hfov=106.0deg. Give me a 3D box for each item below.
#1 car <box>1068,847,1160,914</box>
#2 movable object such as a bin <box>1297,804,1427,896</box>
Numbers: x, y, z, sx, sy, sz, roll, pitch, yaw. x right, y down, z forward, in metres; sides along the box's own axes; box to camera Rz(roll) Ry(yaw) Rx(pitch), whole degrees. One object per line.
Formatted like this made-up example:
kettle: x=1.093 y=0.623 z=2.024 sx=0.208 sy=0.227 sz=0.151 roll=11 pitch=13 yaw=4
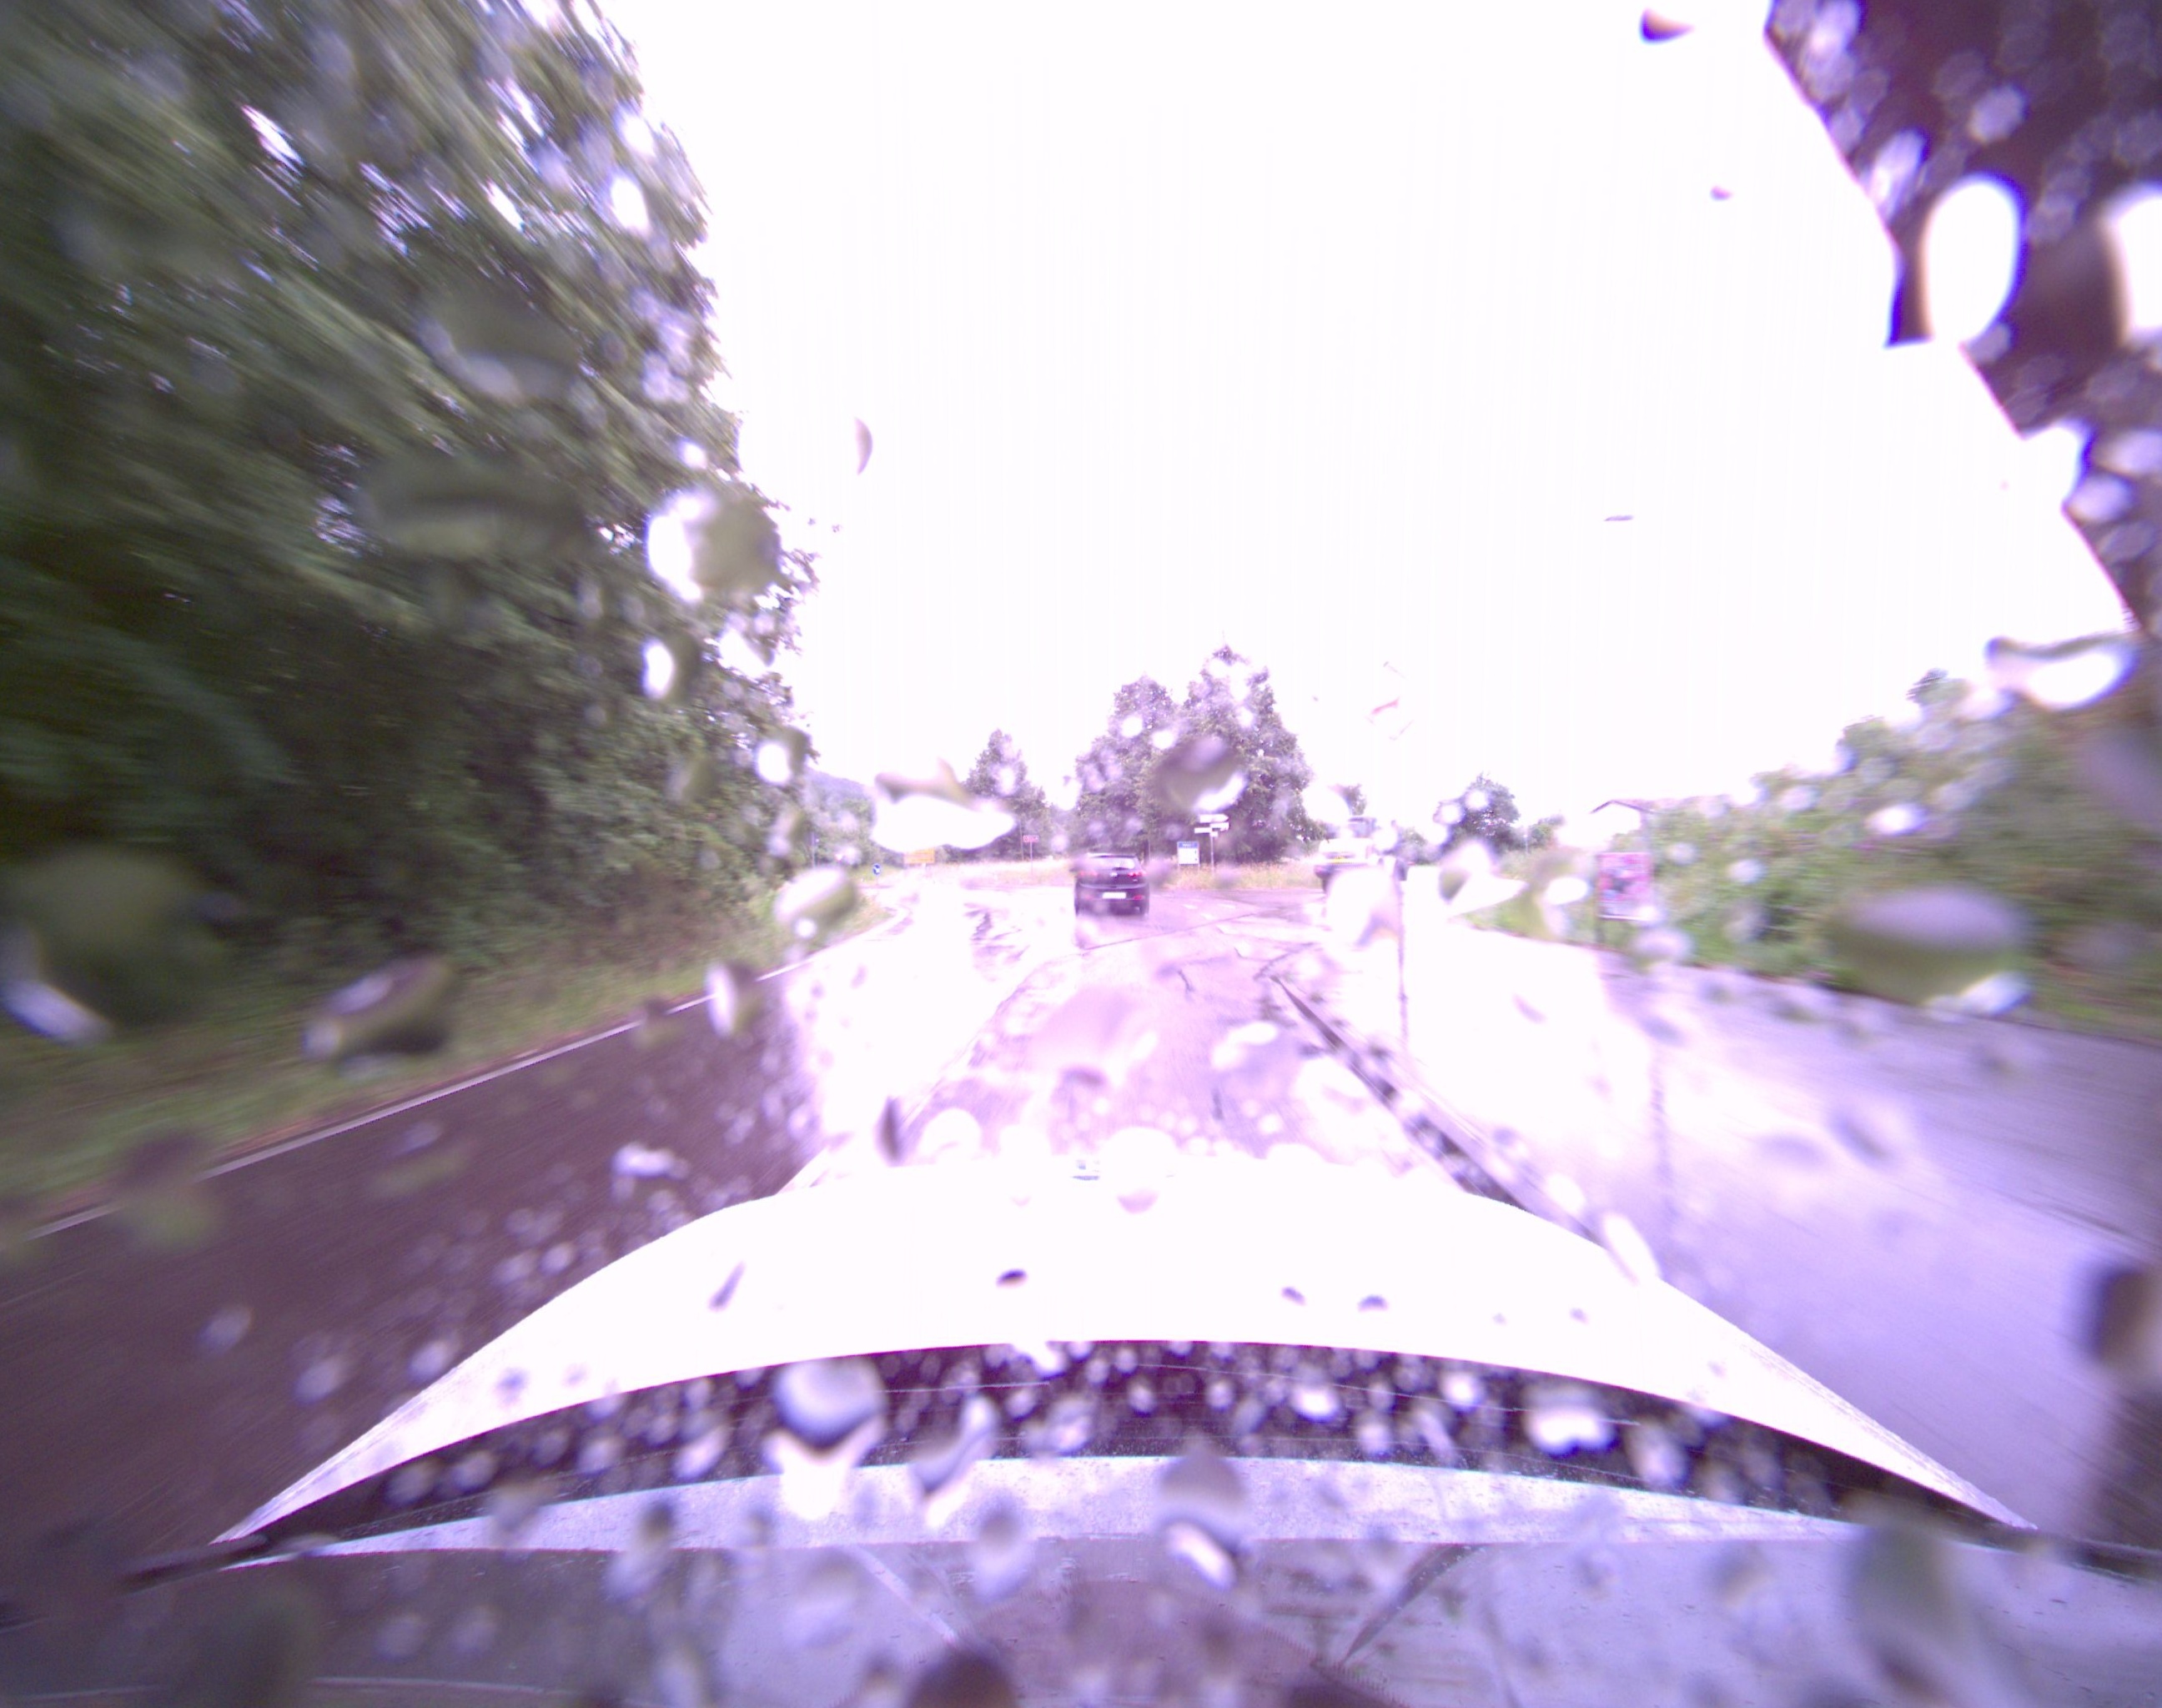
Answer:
car: x=0.707 y=0.608 z=20.135 sx=1.988 sy=1.487 sz=3.997 roll=0 pitch=-1 yaw=-2
movable object such as a bin: x=9.440 y=-0.088 z=26.920 sx=2.224 sy=2.669 sz=6.668 roll=0 pitch=-1 yaw=36
